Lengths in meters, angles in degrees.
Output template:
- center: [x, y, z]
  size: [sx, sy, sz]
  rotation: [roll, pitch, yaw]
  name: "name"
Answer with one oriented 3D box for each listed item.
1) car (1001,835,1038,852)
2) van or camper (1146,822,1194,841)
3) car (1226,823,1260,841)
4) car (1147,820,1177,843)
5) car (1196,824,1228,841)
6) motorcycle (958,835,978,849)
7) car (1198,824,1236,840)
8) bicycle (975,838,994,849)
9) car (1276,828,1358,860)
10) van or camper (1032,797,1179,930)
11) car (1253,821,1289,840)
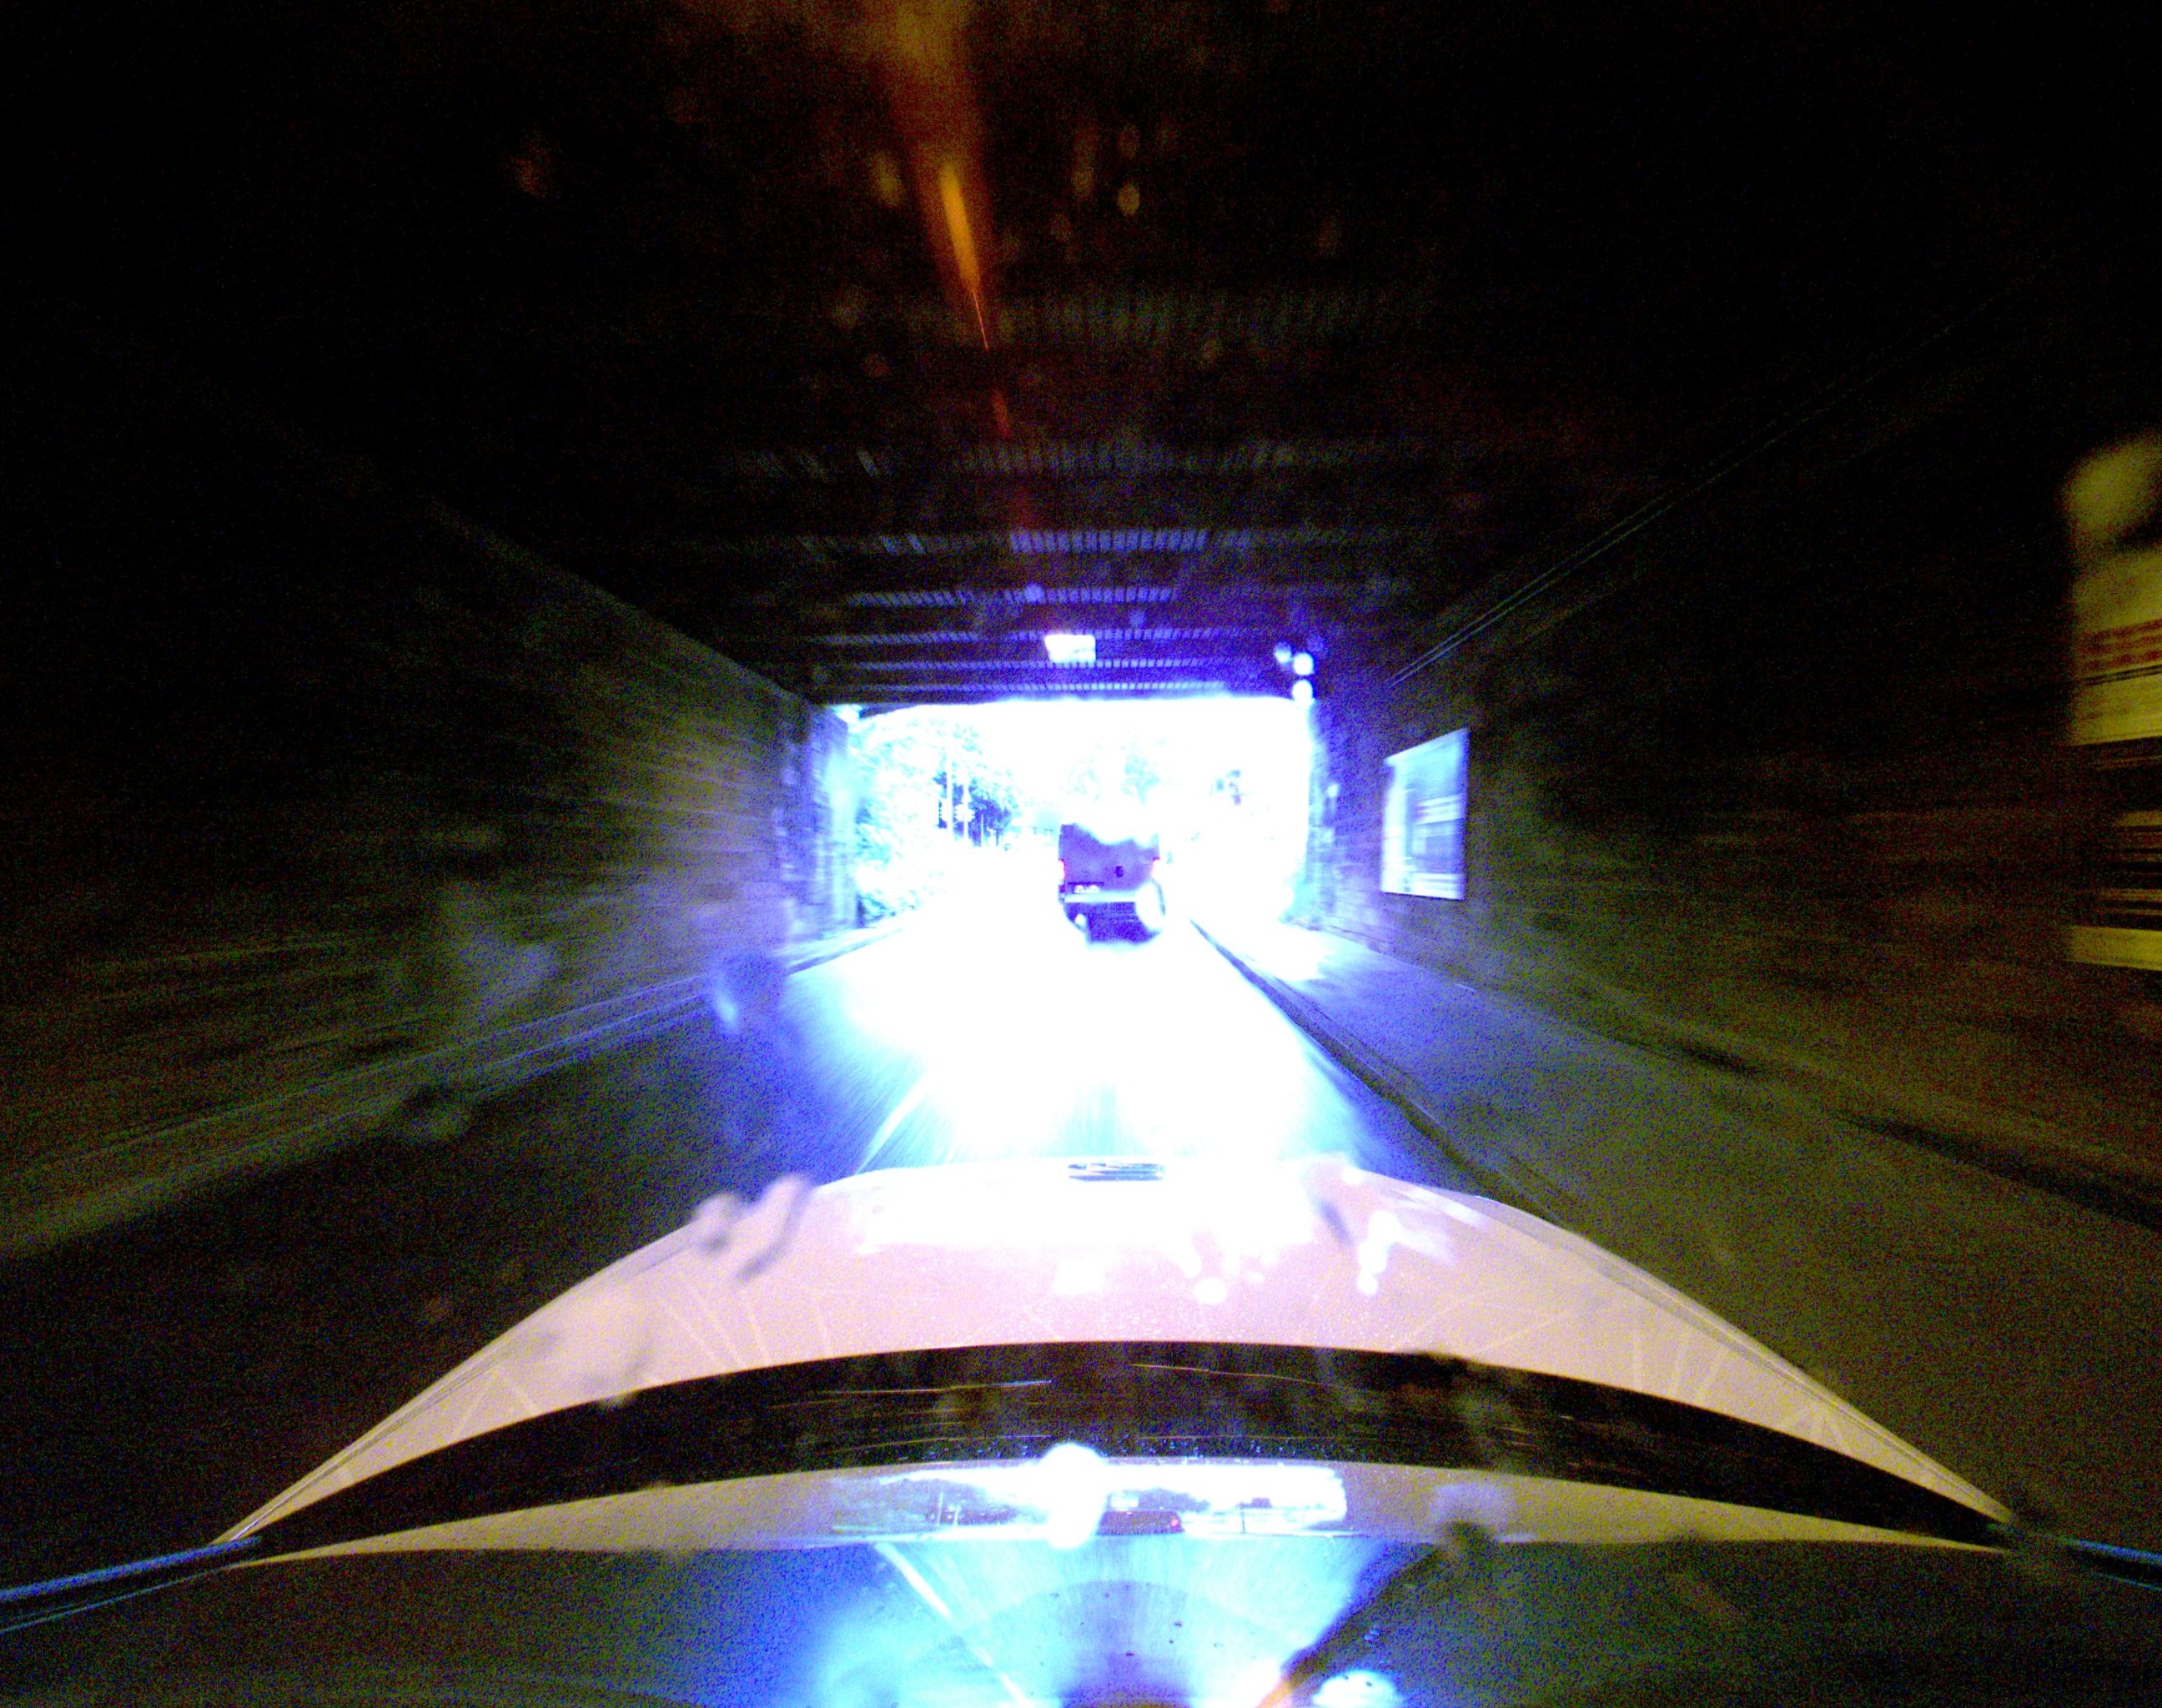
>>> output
- center: [-6.271, -1.060, 83.783]
  size: [1.975, 1.688, 4.024]
  rotation: [0, 0, 28]
  name: "car"
- center: [10.145, -2.527, 92.470]
  size: [5.279, 2.013, 2.082]
  rotation: [0, 0, 7]
  name: "van or camper"
- center: [14.479, -1.927, 73.021]
  size: [1.990, 1.539, 3.993]
  rotation: [0, 0, -5]
  name: "car"
- center: [7.230, -1.974, 73.373]
  size: [1.990, 1.947, 3.993]
  rotation: [0, 0, -5]
  name: "car"
- center: [11.828, -1.920, 73.675]
  size: [1.990, 1.486, 3.993]
  rotation: [0, 0, -5]
  name: "car"
- center: [-11.838, -1.245, 85.400]
  size: [1.982, 1.422, 0.658]
  rotation: [0, 0, -3]
  name: "motorcycle"
- center: [14.577, -2.336, 87.230]
  size: [3.960, 1.539, 2.007]
  rotation: [0, 0, 12]
  name: "car"
- center: [-10.106, -1.140, 85.356]
  size: [0.919, 1.128, 2.303]
  rotation: [0, 0, 22]
  name: "bicycle"
- center: [11.329, -0.479, 39.033]
  size: [4.124, 1.438, 1.820]
  rotation: [-1, -1, -41]
  name: "car"
- center: [0.613, 0.176, 17.454]
  size: [2.686, 2.416, 4.908]
  rotation: [-1, 0, 4]
  name: "van or camper"
- center: [16.975, -2.061, 72.858]
  size: [1.990, 1.539, 3.993]
  rotation: [0, 0, -5]
  name: "car"
